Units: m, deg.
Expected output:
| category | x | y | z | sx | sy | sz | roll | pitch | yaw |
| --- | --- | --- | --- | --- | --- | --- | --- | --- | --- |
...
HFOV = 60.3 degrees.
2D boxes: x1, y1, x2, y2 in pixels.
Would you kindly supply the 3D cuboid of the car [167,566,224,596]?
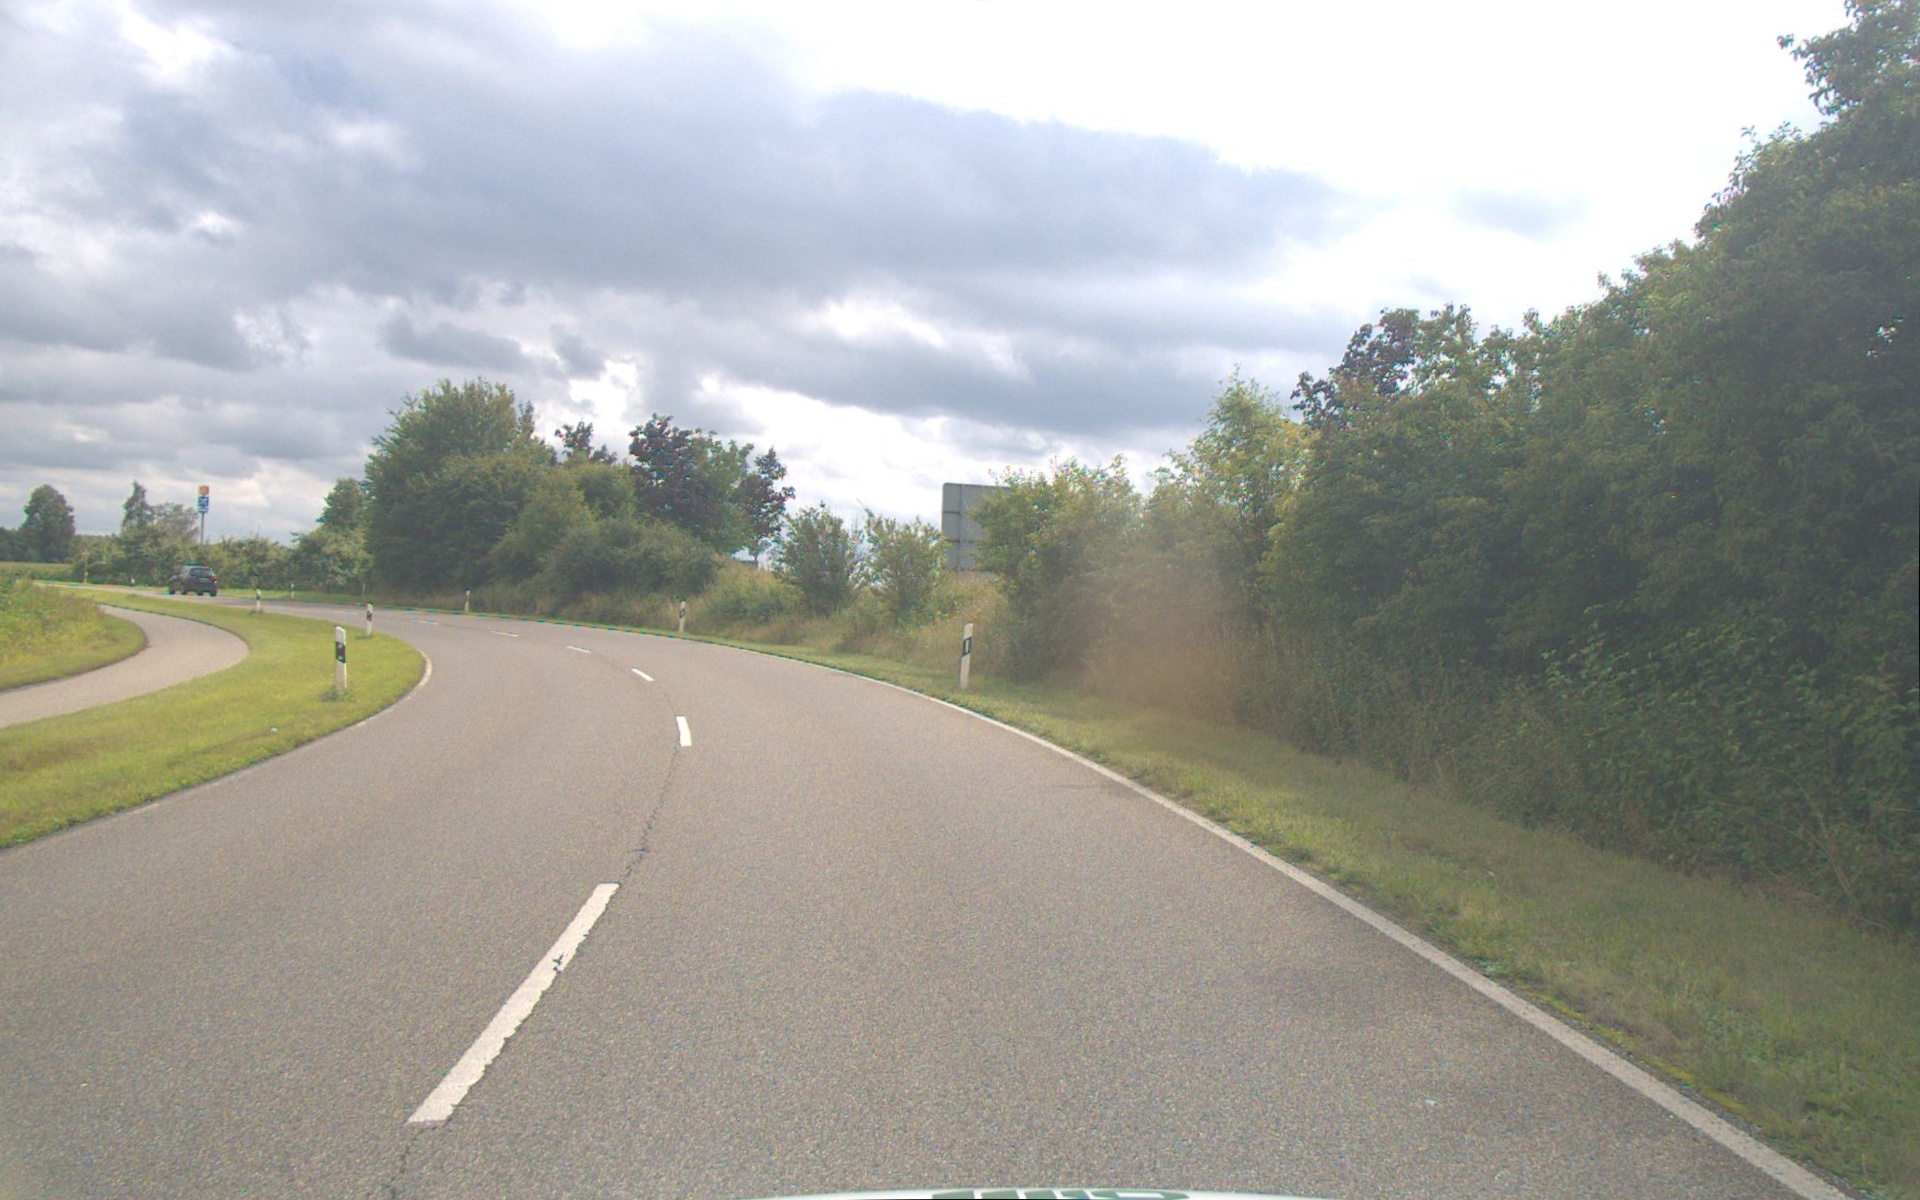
| category | x | y | z | sx | sy | sz | roll | pitch | yaw |
| --- | --- | --- | --- | --- | --- | --- | --- | --- | --- |
| car | -44.416 | -1.096 | 96.076 | 1.896 | 1.695 | 3.939 | 1 | 0 | -42 |
